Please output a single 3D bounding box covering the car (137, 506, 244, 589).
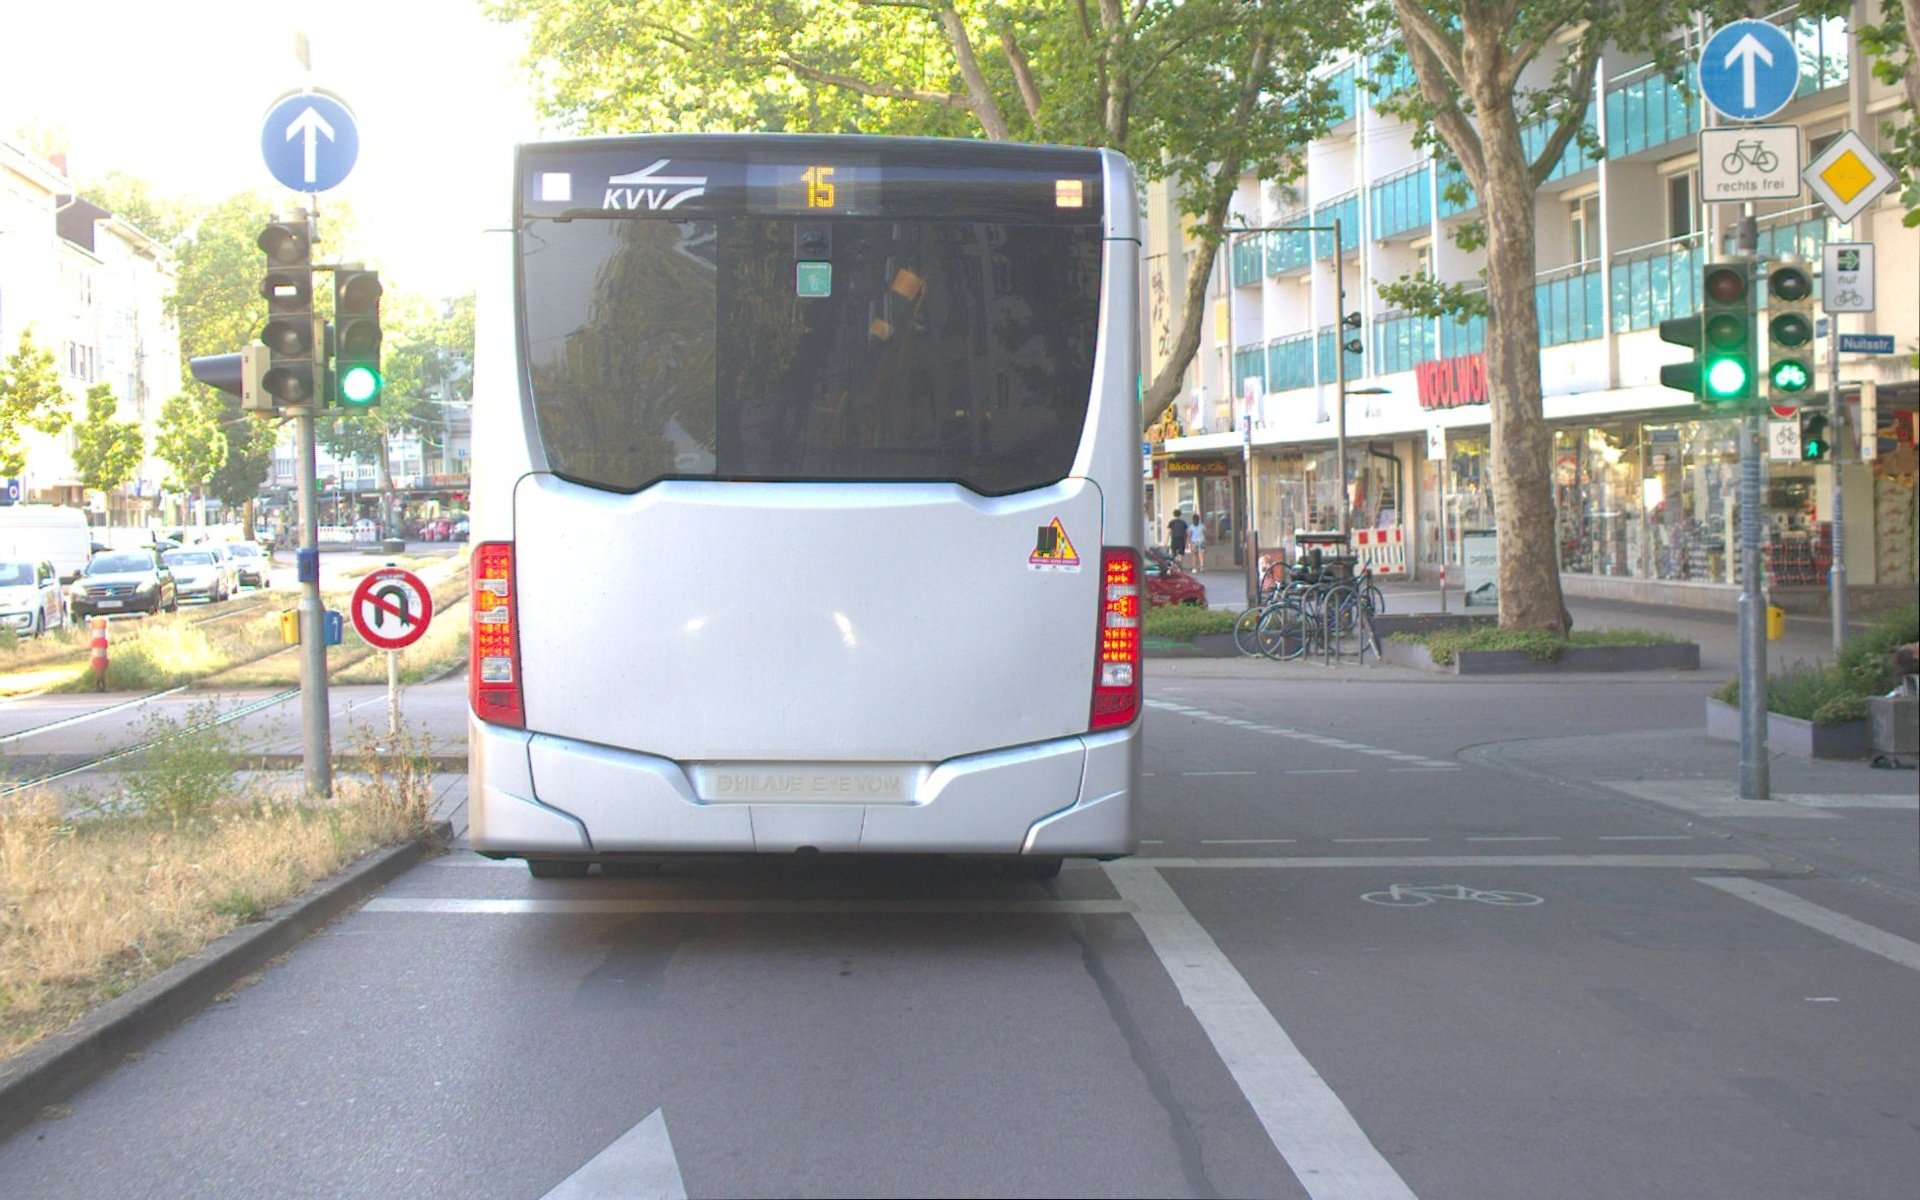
[{"bbox_3d":[-19.345,-1.313,86.570,1.993,2.007,4.001,-1,1,-4],"label":"car"}]

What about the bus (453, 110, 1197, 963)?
[{"bbox_3d":[-0.575,-0.302,15.972,2.678,3.073,7.115,0,1,-1],"label":"bus"}]

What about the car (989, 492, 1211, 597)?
[{"bbox_3d":[2.741,-1.089,66.755,3.989,1.963,1.999,-2,1,-41],"label":"car"}]

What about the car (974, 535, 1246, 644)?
[{"bbox_3d":[2.294,-0.181,51.740,1.998,1.525,3.990,0,1,42],"label":"car"}]

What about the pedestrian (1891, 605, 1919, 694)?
[{"bbox_3d":[6.978,0.329,23.194,1.254,0.587,0.482,0,1,-2],"label":"pedestrian"}]

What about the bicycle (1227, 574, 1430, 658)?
[{"bbox_3d":[4.468,0.188,41.740,2.309,0.936,0.837,-1,2,-9],"label":"bicycle"}]

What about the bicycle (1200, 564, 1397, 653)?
[{"bbox_3d":[4.220,0.094,42.944,2.309,1.025,0.837,-1,2,-9],"label":"bicycle"}]

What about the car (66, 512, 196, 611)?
[{"bbox_3d":[-17.683,-0.828,73.451,1.993,2.007,4.001,-1,1,-4],"label":"car"}]

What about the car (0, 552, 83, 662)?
[{"bbox_3d":[-16.368,0.101,58.808,1.897,1.798,4.001,-1,1,-4],"label":"car"}]

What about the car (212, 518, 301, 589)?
[{"bbox_3d":[-20.677,-1.383,101.159,1.993,2.007,4.001,-1,1,-4],"label":"car"}]
